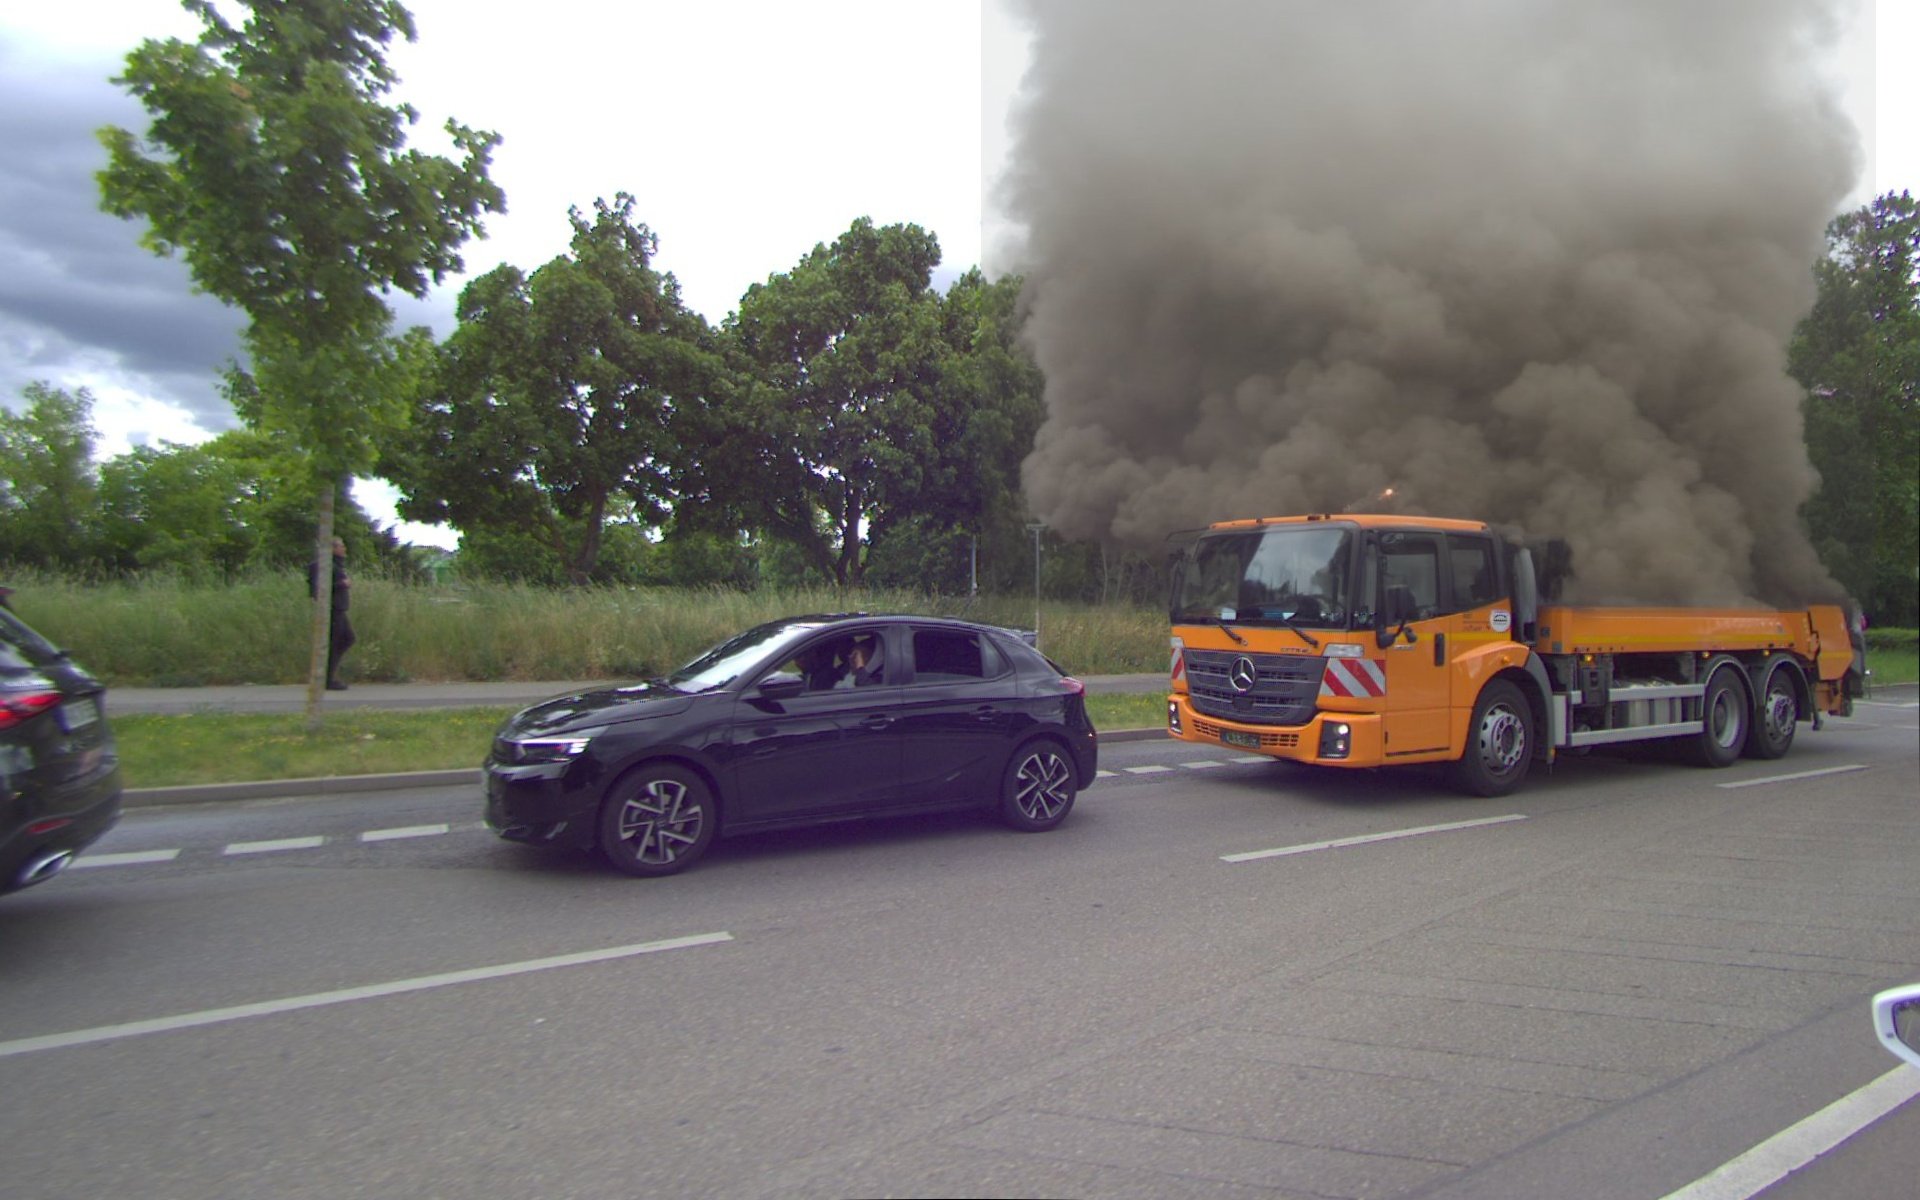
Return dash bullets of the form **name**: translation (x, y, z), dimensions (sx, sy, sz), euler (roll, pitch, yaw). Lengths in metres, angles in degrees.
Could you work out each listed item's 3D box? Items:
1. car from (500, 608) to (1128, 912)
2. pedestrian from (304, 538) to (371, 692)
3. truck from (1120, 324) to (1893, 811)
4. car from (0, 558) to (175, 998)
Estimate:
- **car**: translation (-0.846, 0.821, 6.622), dimensions (3.850, 1.477, 1.426), euler (1, 1, -31)
- **pedestrian**: translation (-7.777, 0.179, 12.574), dimensions (0.669, 1.860, 0.717), euler (1, 1, -30)
- **truck**: translation (6.481, -0.215, 10.980), dimensions (9.878, 3.534, 2.692), euler (1, 1, -31)
- **car**: translation (-5.367, 0.617, 3.453), dimensions (4.014, 1.607, 1.631), euler (1, 1, -31)
